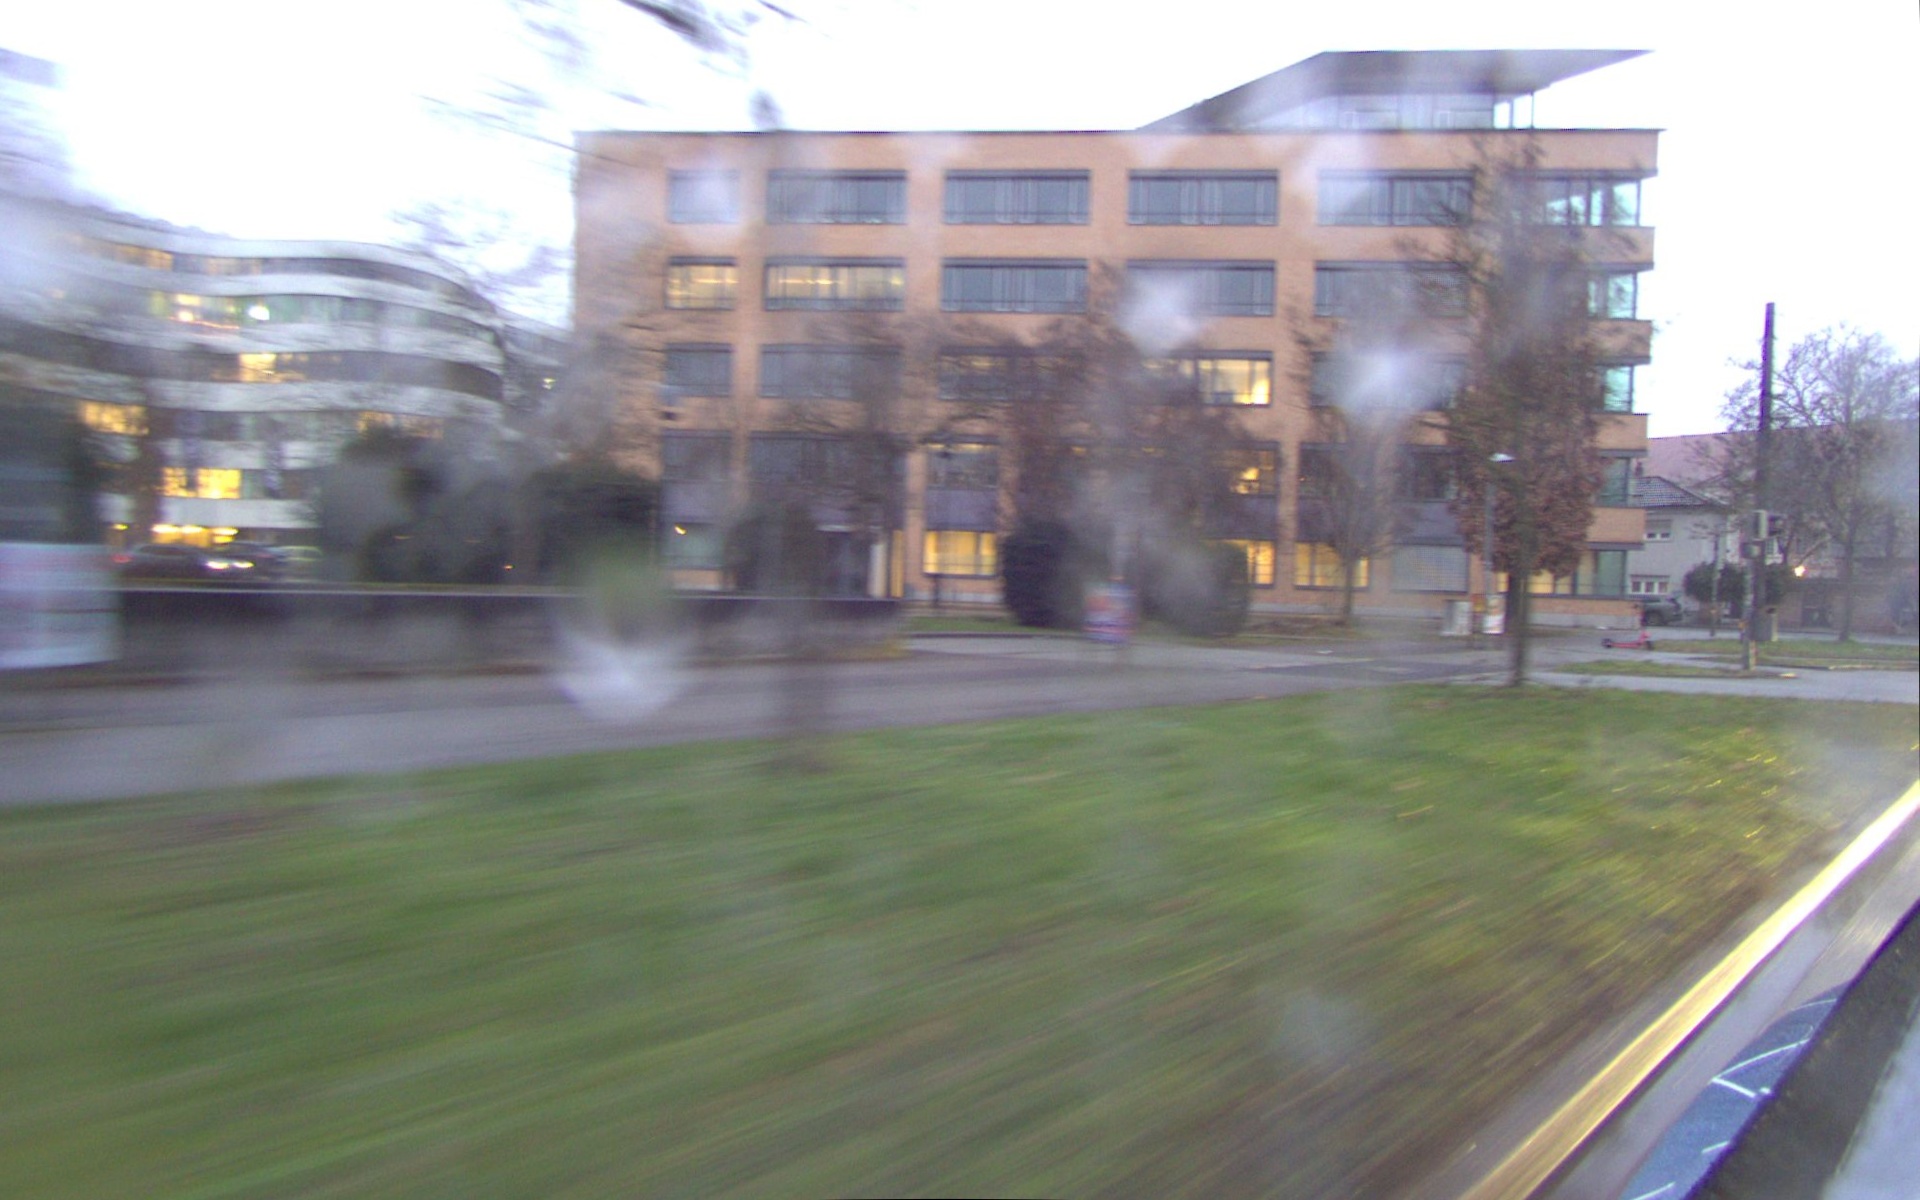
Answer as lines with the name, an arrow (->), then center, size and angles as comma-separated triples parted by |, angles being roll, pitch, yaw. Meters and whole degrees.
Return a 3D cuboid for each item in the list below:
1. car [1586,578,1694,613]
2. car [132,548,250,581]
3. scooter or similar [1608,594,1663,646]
car -> 36.574, -0.262, 54.494 | 1.967, 1.690, 4.503 | 1, 2, -44
car -> -31.217, -1.438, 41.109 | 3.642, 1.195, 1.671 | 2, 1, 5
scooter or similar -> 17.362, 0.501, 26.023 | 1.137, 1.247, 0.482 | 2, 1, 34
